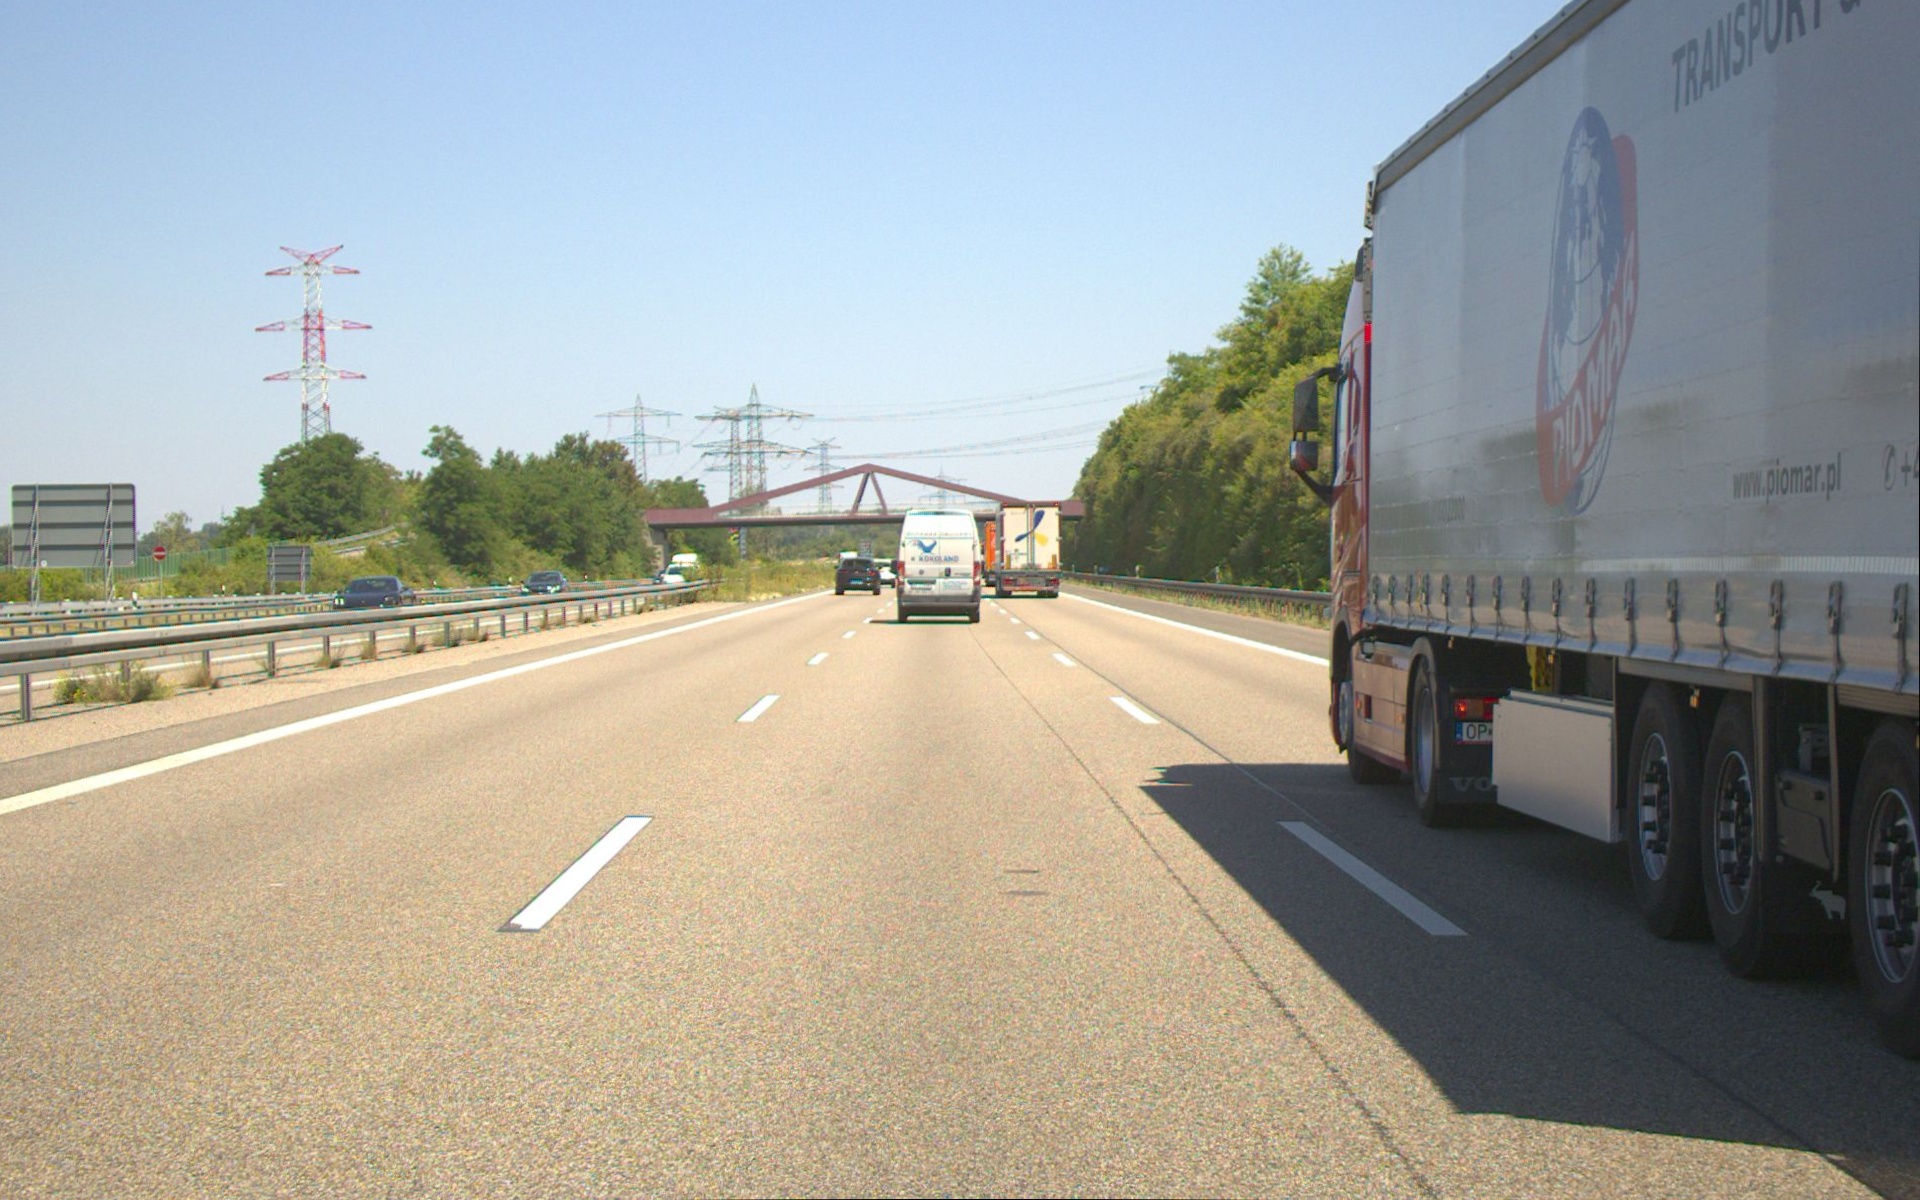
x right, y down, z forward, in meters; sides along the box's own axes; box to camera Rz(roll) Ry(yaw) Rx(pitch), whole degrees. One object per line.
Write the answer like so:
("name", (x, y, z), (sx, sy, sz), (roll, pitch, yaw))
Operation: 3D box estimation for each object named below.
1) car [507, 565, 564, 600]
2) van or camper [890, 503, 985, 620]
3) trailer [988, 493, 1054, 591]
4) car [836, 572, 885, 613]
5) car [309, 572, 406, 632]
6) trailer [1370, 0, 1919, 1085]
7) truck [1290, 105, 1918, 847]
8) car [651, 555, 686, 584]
("car", (-18.382, -0.765, 149.043), (1.868, 1.393, 4.546), (-3, 1, -1))
("van or camper", (-0.553, -0.959, 85.610), (2.230, 2.772, 5.423), (1, 1, 0))
("trailer", (2.621, -2.501, 150.431), (2.637, 4.046, 12.366), (1, 1, 0))
("car", (-4.513, -0.347, 156.700), (1.982, 1.811, 3.812), (1, 1, 1))
("car", (-17.375, 0.037, 99.379), (1.972, 1.641, 5.017), (1, 1, -1))
("trailer", (3.874, -0.633, 13.873), (2.490, 3.896, 14.247), (0, 1, -1))
("truck", (3.744, -0.692, 21.712), (2.499, 3.906, 7.097), (0, 1, -1))
("car", (-18.616, -1.952, 219.708), (1.953, 1.804, 5.048), (1, 1, -2))
